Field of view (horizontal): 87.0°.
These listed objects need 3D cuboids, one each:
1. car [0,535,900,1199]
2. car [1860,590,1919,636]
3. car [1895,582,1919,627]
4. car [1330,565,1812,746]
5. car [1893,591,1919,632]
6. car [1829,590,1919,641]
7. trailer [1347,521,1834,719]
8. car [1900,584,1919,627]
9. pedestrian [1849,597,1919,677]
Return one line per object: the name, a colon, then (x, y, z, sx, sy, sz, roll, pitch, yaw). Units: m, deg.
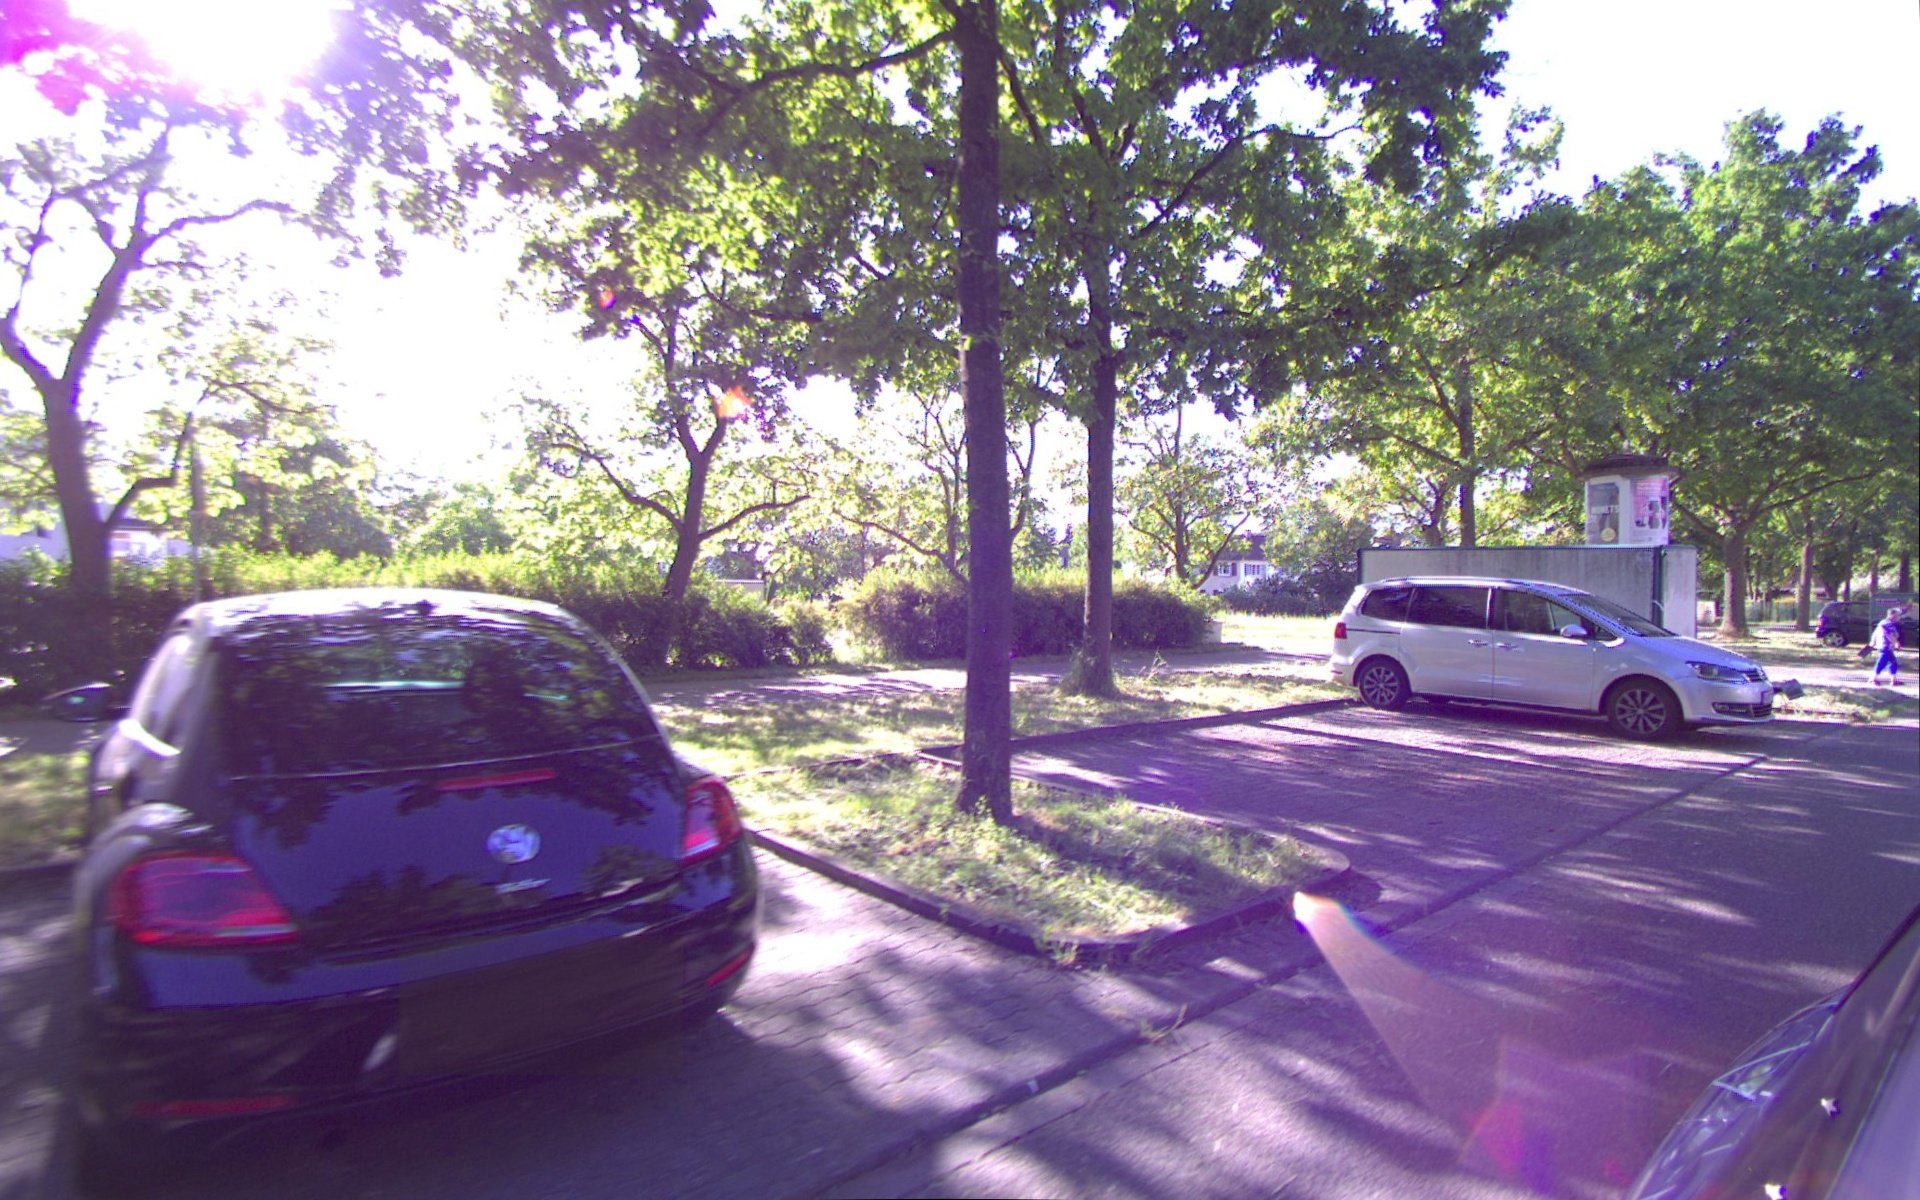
car: (-2.309, 0.600, 3.997, 2.041, 1.538, 4.255, 0, 1, -39)
car: (35.014, 0.500, 36.473, 1.754, 1.596, 3.592, 0, 2, -39)
car: (45.904, 0.233, 45.990, 1.910, 2.057, 4.812, 0, 1, -41)
car: (7.193, 0.482, 12.377, 1.952, 1.744, 4.653, 0, 2, -40)
car: (38.711, 0.489, 39.211, 1.635, 1.551, 3.530, 0, 2, -39)
car: (31.225, 0.502, 33.448, 1.825, 1.596, 3.590, 0, 2, -41)
trailer: (8.778, 0.131, 14.776, 1.655, 2.346, 5.790, 0, 2, -38)
car: (44.223, 0.286, 44.567, 1.769, 1.860, 4.014, 0, 2, -43)
pedestrian: (18.330, 0.715, 19.869, 0.867, 1.519, 0.944, 1, 1, -6)
